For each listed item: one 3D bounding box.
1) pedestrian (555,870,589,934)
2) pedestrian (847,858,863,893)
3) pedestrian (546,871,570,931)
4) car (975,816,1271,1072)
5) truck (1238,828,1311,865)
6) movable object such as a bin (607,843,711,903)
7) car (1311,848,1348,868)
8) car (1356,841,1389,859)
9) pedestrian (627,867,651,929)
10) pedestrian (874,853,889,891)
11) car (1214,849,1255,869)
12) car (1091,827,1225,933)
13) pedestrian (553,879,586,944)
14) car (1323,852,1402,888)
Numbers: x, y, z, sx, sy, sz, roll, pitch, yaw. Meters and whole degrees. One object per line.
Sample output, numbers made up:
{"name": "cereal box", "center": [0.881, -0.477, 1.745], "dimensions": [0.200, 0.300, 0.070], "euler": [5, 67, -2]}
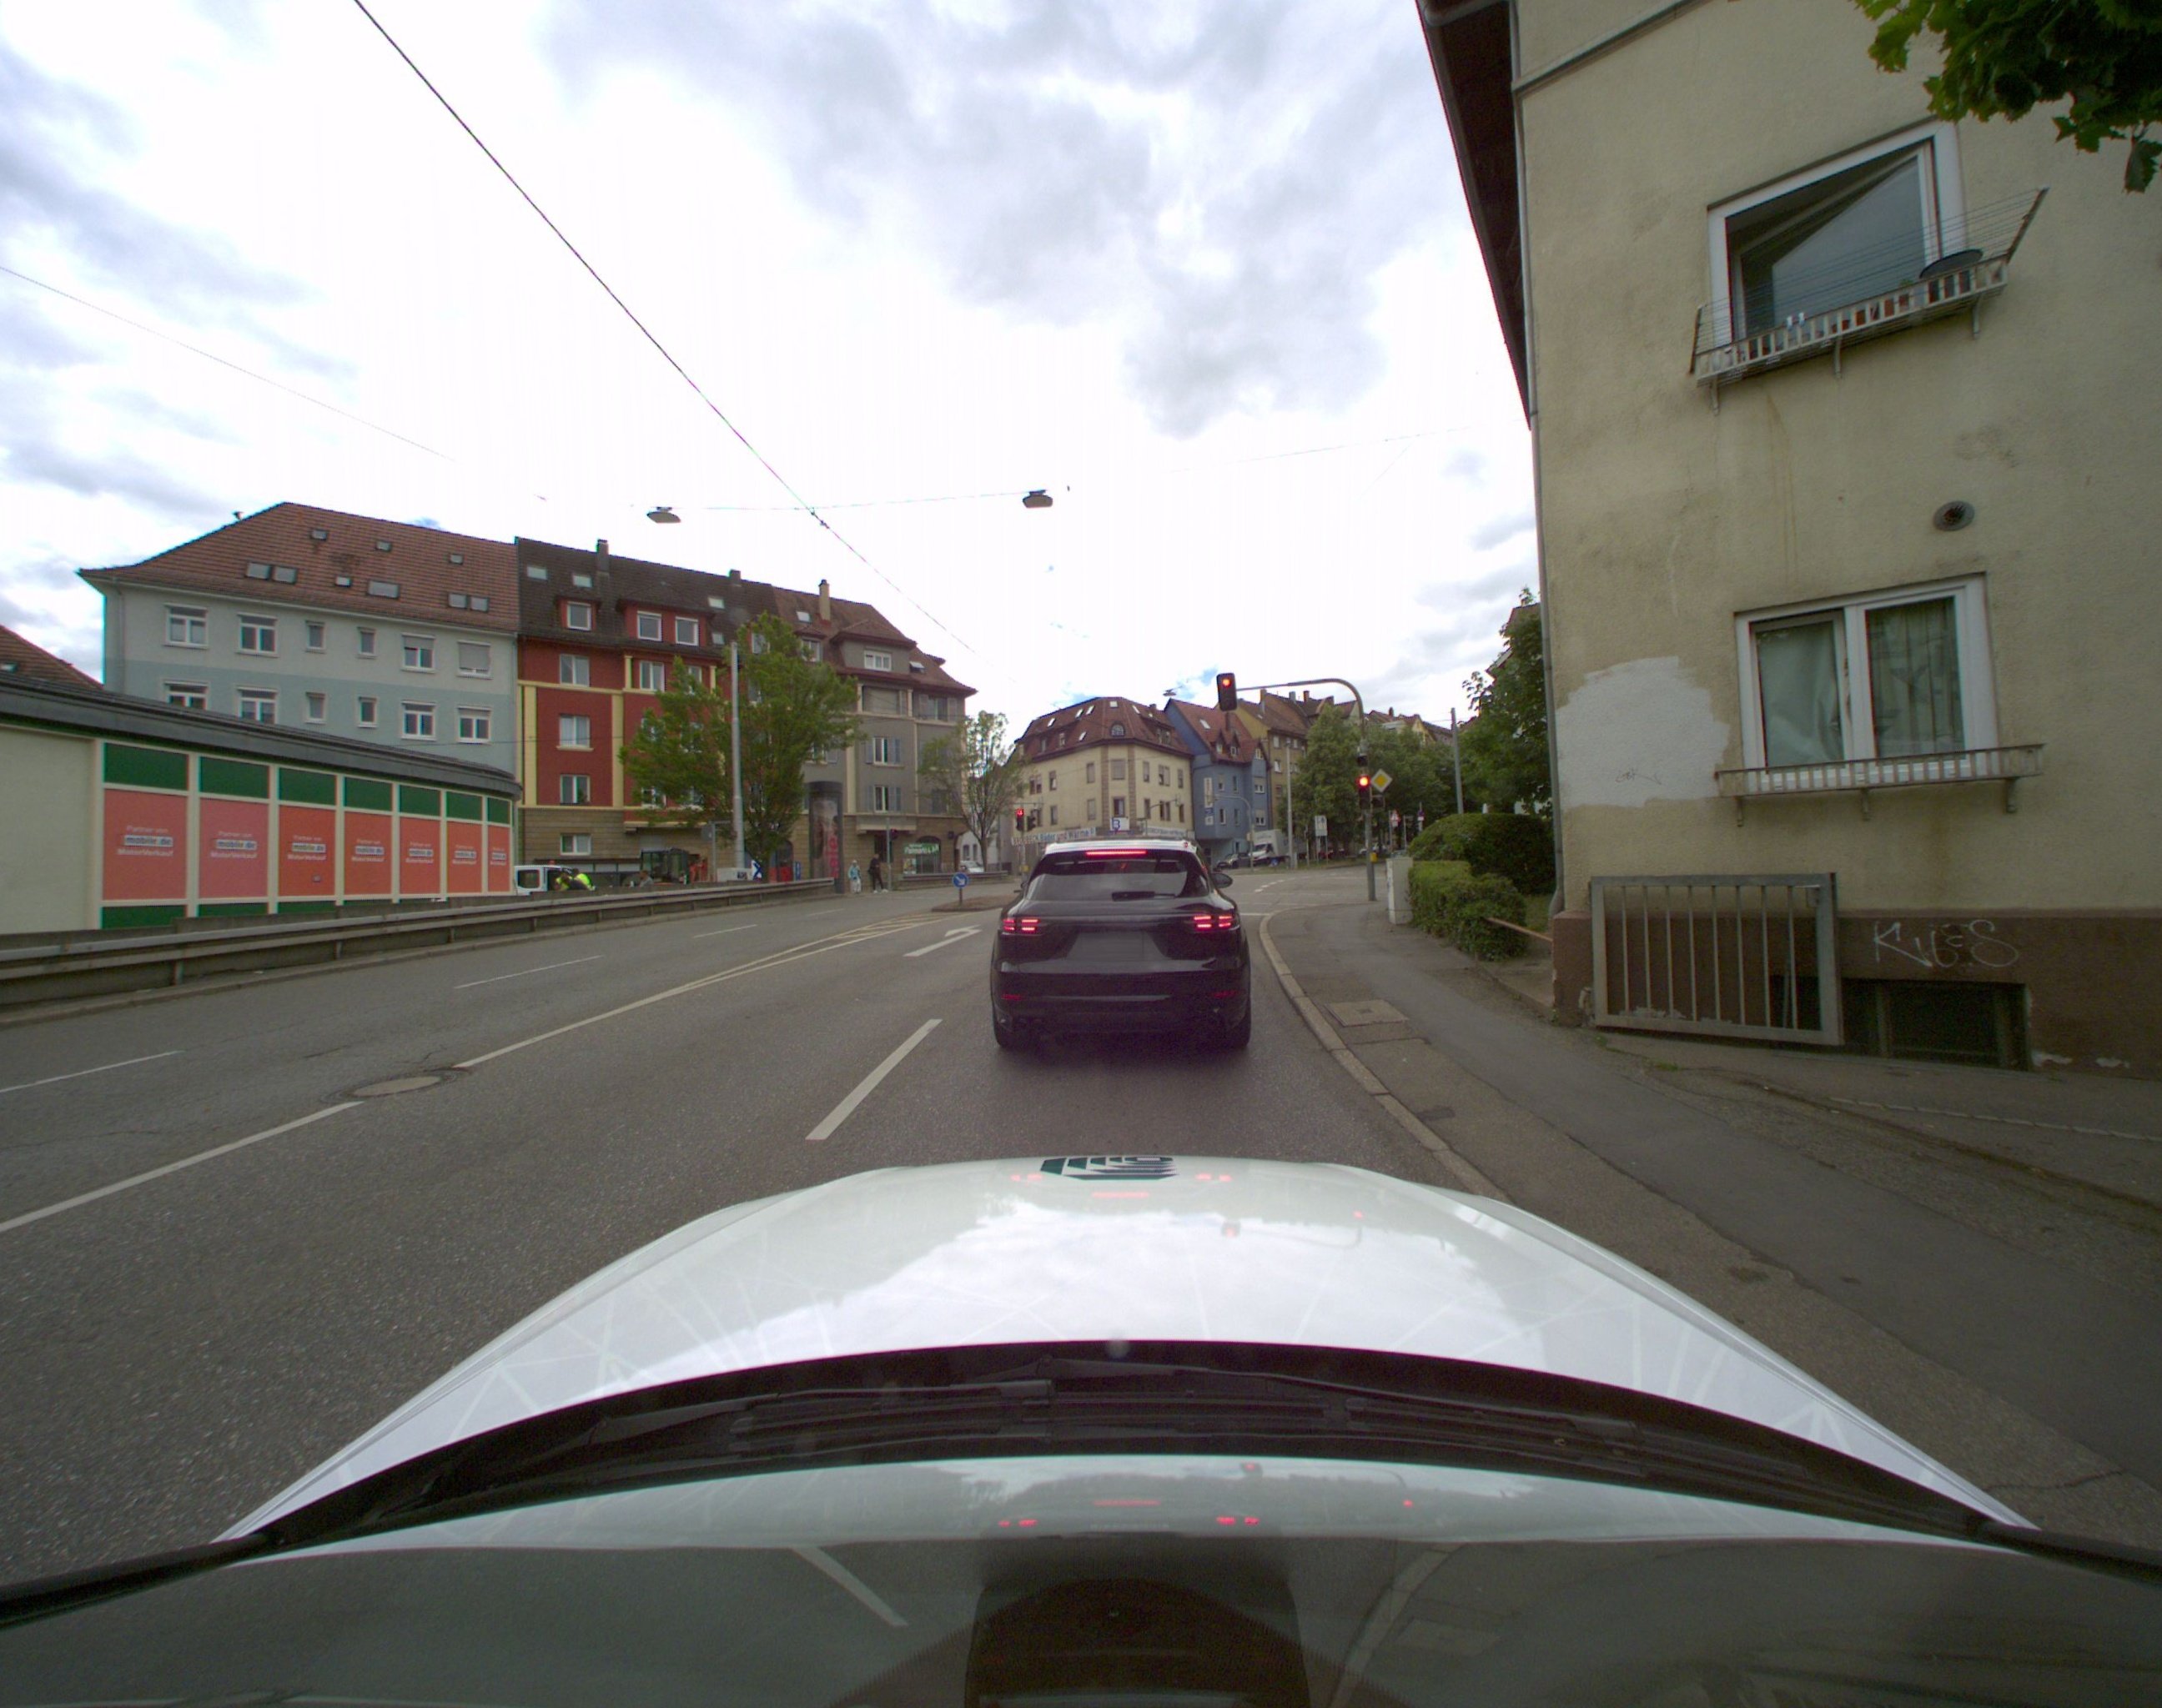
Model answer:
{"name": "pedestrian", "center": [-14.413, 1.348, 23.072], "dimensions": [0.565, 1.761, 0.622], "euler": [0, -1, 37]}
{"name": "pedestrian", "center": [-10.117, 0.962, 36.468], "dimensions": [0.587, 1.567, 0.486], "euler": [1, -1, 1]}
{"name": "pedestrian", "center": [-15.230, 1.357, 23.713], "dimensions": [0.479, 1.730, 0.536], "euler": [1, -1, -44]}
{"name": "car", "center": [0.260, 0.587, 7.519], "dimensions": [1.973, 1.684, 3.998], "euler": [-1, 0, -1]}
{"name": "truck", "center": [18.697, -0.646, 78.307], "dimensions": [2.846, 3.340, 8.846], "euler": [0, 0, 43]}
{"name": "movable object such as a bin", "center": [-13.461, 0.575, 26.221], "dimensions": [1.903, 1.771, 3.984], "euler": [1, 0, -11]}
{"name": "car", "center": [26.169, 0.464, 85.700], "dimensions": [1.975, 2.014, 4.023], "euler": [0, -1, 45]}
{"name": "car", "center": [33.131, -0.433, 92.617], "dimensions": [1.975, 2.014, 4.023], "euler": [0, -1, 45]}
{"name": "pedestrian", "center": [-12.596, 1.234, 23.208], "dimensions": [0.545, 1.730, 0.587], "euler": [1, -1, -33]}
{"name": "pedestrian", "center": [-9.231, 0.815, 37.683], "dimensions": [0.511, 1.730, 0.451], "euler": [1, -1, 4]}
{"name": "car", "center": [13.529, 0.406, 71.690], "dimensions": [1.974, 1.684, 4.026], "euler": [-2, -1, 36]}
{"name": "car", "center": [1.579, 0.438, 15.156], "dimensions": [1.980, 1.684, 4.014], "euler": [-1, 0, 12]}
{"name": "pedestrian", "center": [-13.710, 1.522, 21.844], "dimensions": [0.562, 1.700, 0.541], "euler": [1, -1, -10]}
{"name": "car", "center": [16.187, 0.929, 47.023], "dimensions": [2.007, 2.014, 3.959], "euler": [1, -1, -33]}
